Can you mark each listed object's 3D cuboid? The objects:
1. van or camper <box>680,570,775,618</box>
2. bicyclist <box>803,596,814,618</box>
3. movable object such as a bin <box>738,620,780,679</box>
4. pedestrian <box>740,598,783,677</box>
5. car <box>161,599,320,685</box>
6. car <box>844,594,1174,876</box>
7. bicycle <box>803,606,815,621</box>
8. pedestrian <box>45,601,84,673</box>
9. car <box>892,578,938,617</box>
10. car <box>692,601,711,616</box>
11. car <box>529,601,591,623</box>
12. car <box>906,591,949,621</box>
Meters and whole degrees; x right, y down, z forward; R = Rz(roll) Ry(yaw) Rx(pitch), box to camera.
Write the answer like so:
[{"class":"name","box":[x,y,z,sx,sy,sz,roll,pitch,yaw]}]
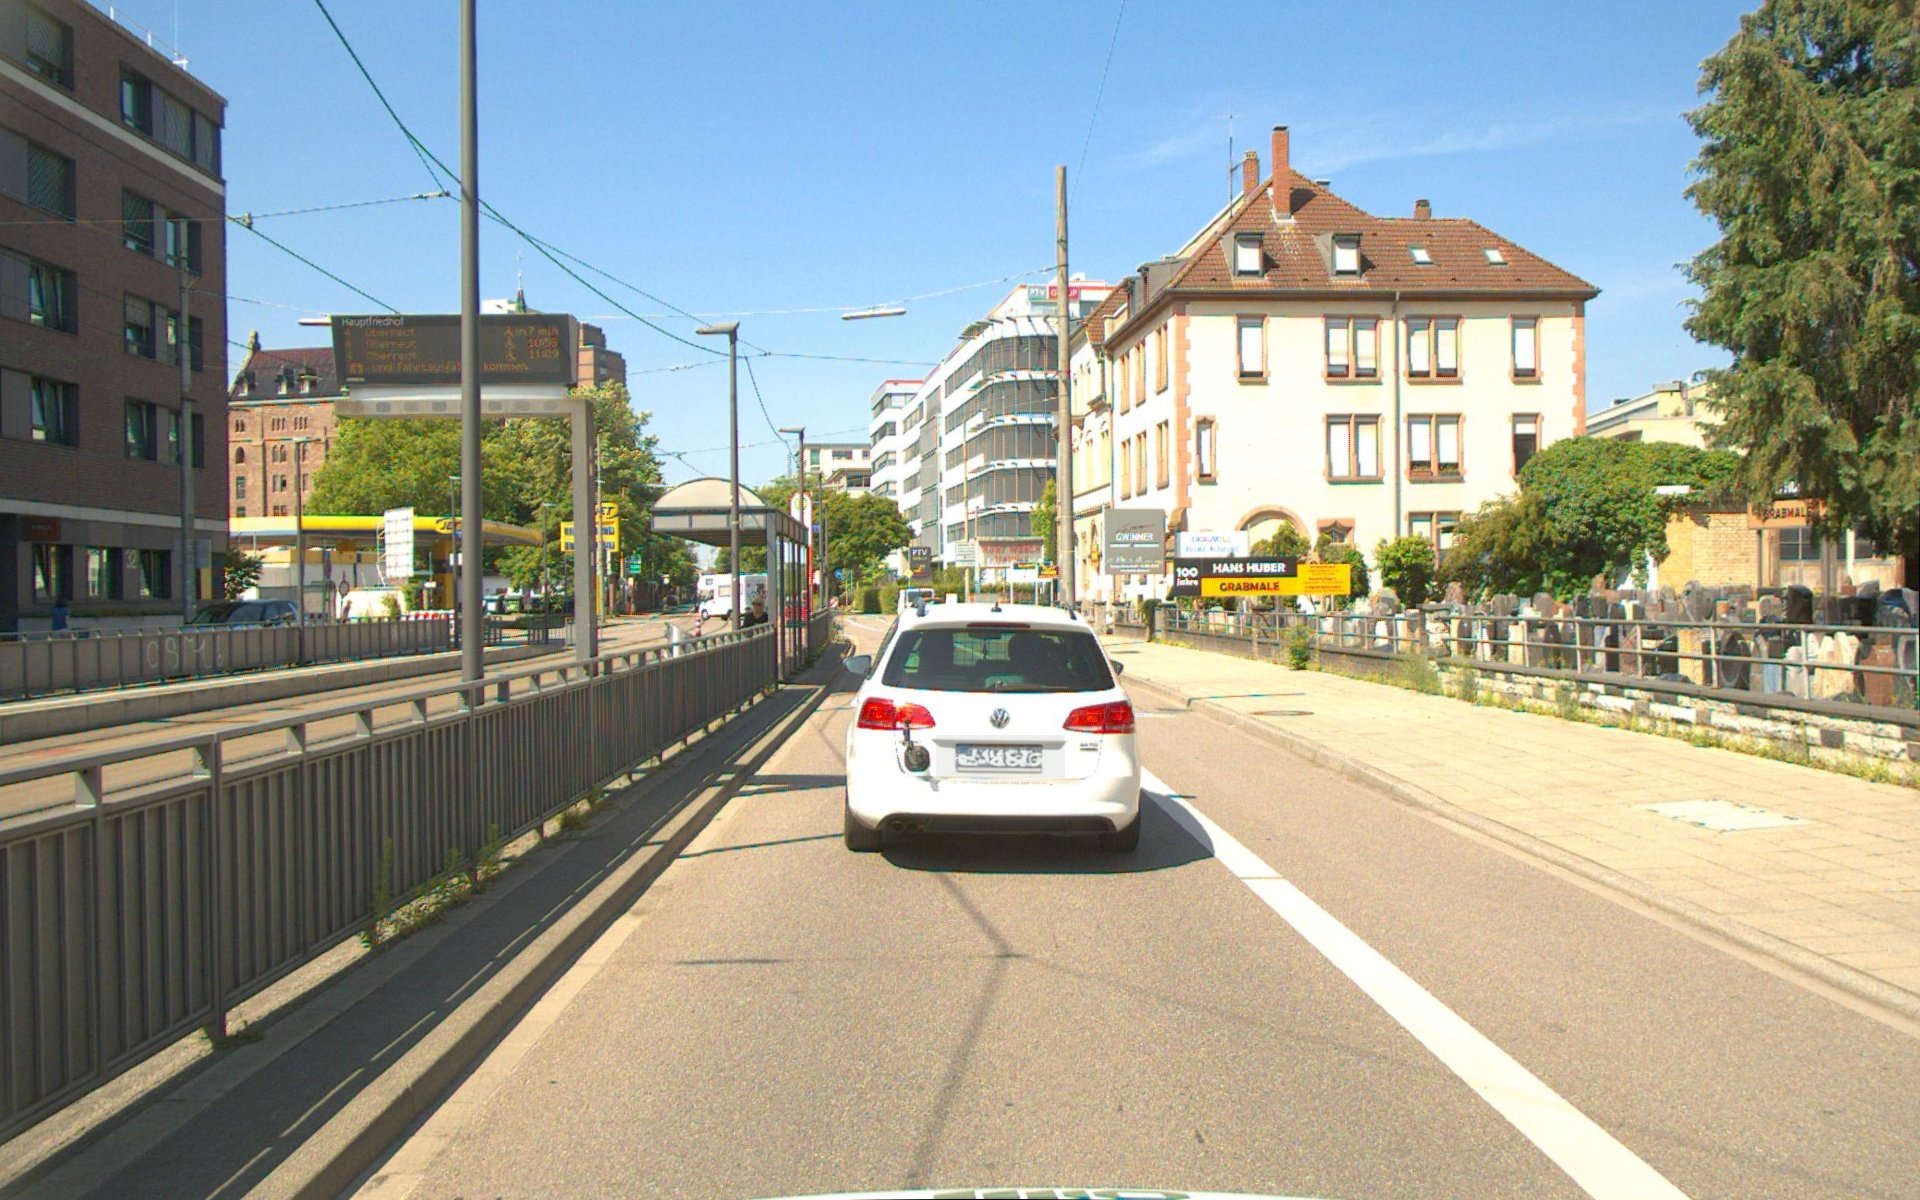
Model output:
[{"class":"van or camper","box":[-15.560,-0.417,110.571,6.595,3.019,2.600,2,-1,42]},{"class":"bicyclist","box":[-11.587,0.565,126.560,0.771,1.658,0.737,1,-1,-9]},{"class":"movable object such as a bin","box":[-3.243,0.792,26.679,0.617,0.916,0.488,-1,0,-2]},{"class":"pedestrian","box":[-3.272,0.612,27.273,0.617,1.277,0.709,-1,0,-2]},{"class":"car","box":[-16.044,0.884,37.116,1.764,1.759,4.188,1,0,-1]},{"class":"car","box":[0.187,0.705,10.908,1.718,1.467,4.411,1,0,-2]},{"class":"bicycle","box":[-11.570,1.034,126.711,0.796,1.097,2.008,0,0,-8]},{"class":"pedestrian","box":[-21.658,0.885,40.011,0.569,1.693,0.699,-1,0,-3]},{"class":"car","box":[-2.570,-0.139,93.857,1.940,2.090,5.181,-3,0,-8]},{"class":"car","box":[-28.689,0.954,183.673,1.711,1.598,3.888,-2,-1,-4]},{"class":"car","box":[-30.890,0.893,127.931,1.910,1.653,4.562,-1,0,35]},{"class":"car","box":[-1.736,0.330,87.416,1.690,1.468,4.304,-3,0,-8]}]
